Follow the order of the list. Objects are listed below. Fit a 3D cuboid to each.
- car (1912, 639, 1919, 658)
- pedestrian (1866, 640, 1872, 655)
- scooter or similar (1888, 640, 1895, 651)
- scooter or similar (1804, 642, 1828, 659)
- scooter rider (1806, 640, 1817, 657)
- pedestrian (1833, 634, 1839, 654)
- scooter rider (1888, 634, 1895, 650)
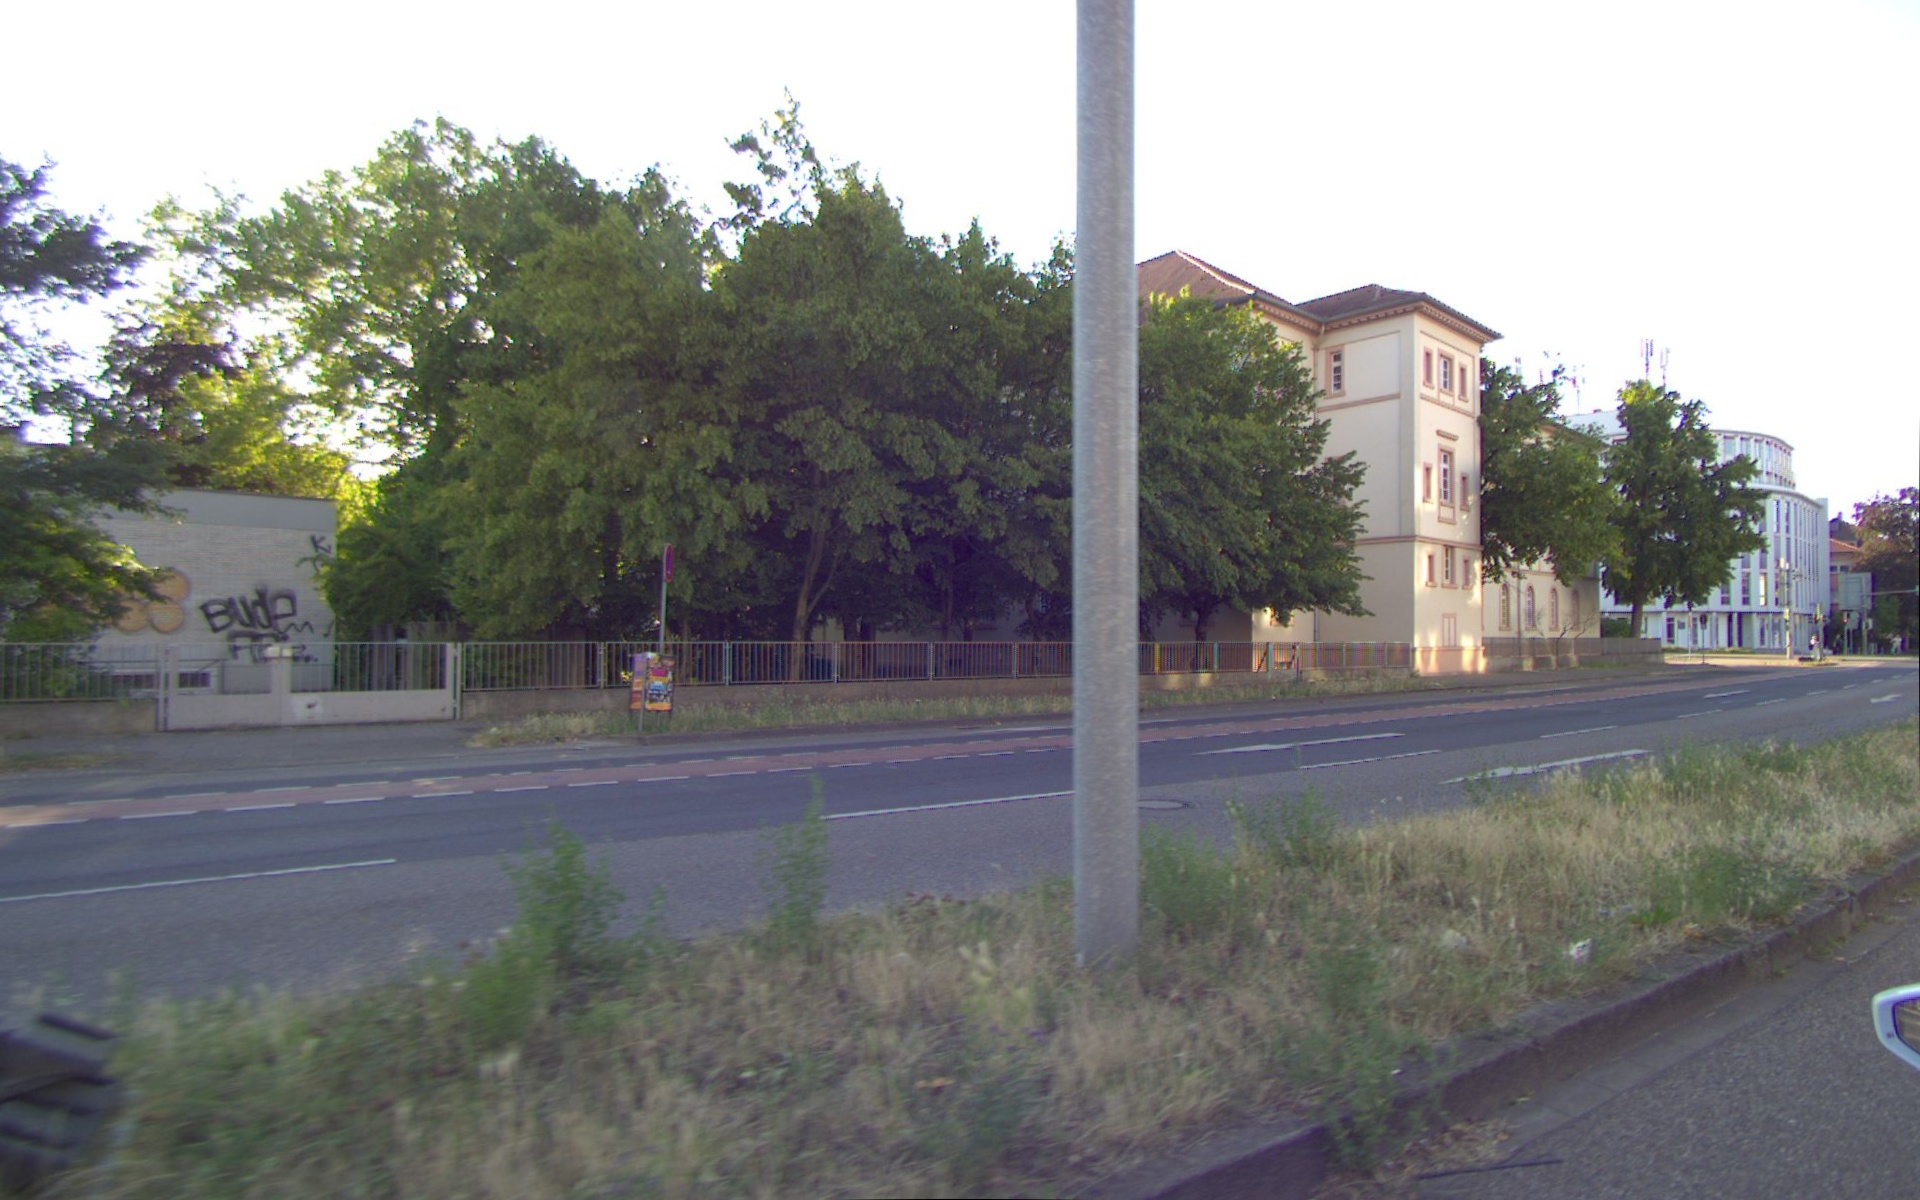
[{"bbox_3d":[85.067,4.214,87.744,3.959,1.616,1.981,1,-2,-34],"label":"car"},{"bbox_3d":[80.644,4.182,89.123,0.376,1.307,0.351,1,-2,-40],"label":"pedestrian"},{"bbox_3d":[80.528,3.940,86.849,0.897,0.907,0.355,2,-2,-40],"label":"scooter or similar"},{"bbox_3d":[53.860,3.164,63.208,1.086,0.989,0.556,1,-1,40],"label":"scooter or similar"},{"bbox_3d":[53.695,3.052,63.361,0.503,1.049,0.444,1,-1,39],"label":"scooter rider"},{"bbox_3d":[73.391,3.713,84.139,0.371,1.681,0.566,-1,-2,40],"label":"pedestrian"},{"bbox_3d":[80.529,3.645,86.857,0.334,1.391,0.352,1,-2,-40],"label":"scooter rider"}]
